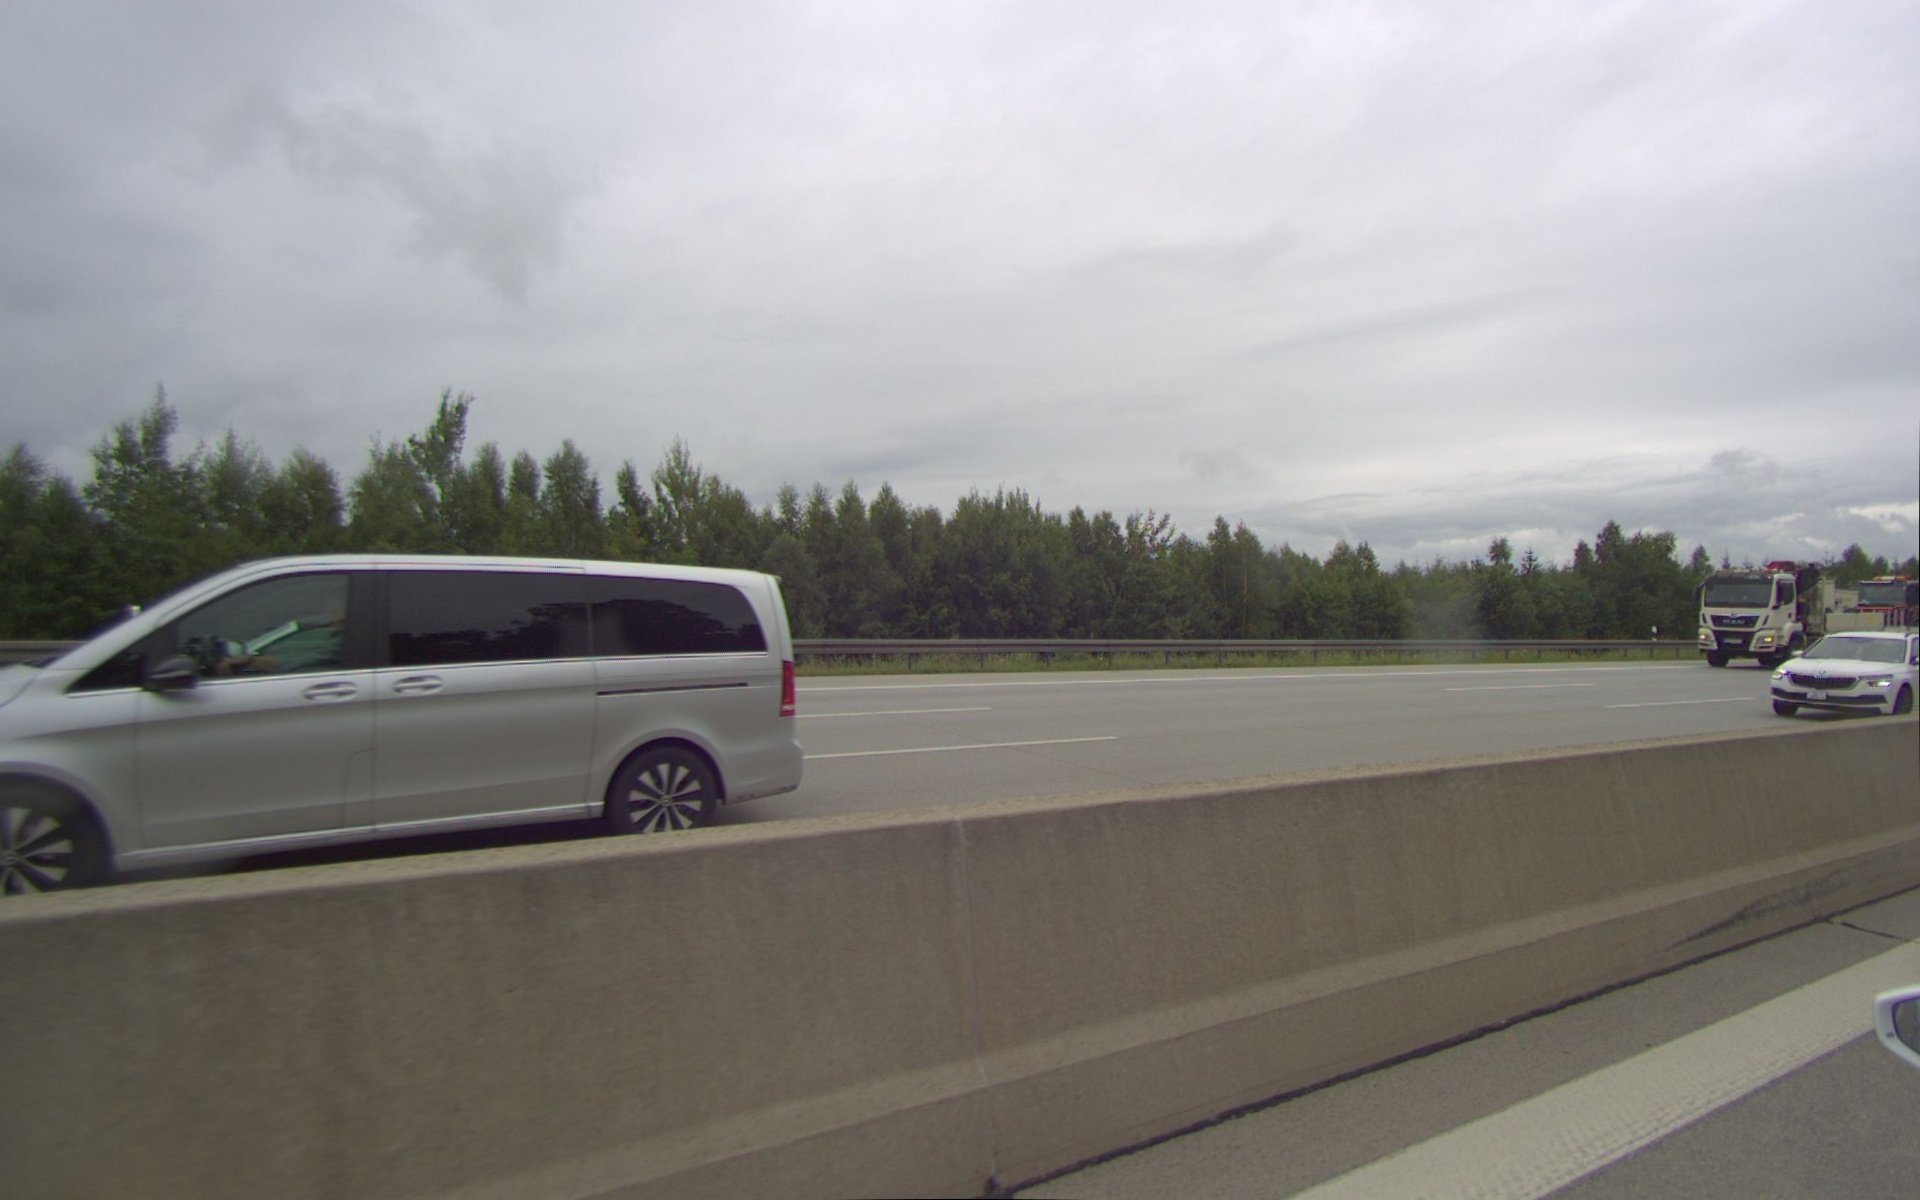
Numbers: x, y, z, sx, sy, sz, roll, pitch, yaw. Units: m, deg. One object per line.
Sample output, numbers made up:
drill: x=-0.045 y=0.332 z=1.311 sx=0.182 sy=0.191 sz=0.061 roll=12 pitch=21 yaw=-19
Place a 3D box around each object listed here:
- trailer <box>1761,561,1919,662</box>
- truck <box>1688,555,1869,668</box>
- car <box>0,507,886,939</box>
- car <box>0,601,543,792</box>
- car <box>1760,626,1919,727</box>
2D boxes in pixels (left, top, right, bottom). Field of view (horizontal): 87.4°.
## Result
trailer: x=36.739 y=0.598 z=40.314 sx=13.564 sy=3.589 sz=2.574 roll=2 pitch=-1 yaw=-31
truck: x=29.375 y=0.453 z=35.949 sx=7.571 sy=3.701 sz=2.573 roll=1 pitch=0 yaw=-31
car: x=-3.373 y=0.570 z=6.581 sx=5.462 sy=2.041 sz=1.983 roll=0 pitch=1 yaw=-31
car: x=-6.240 y=0.763 z=9.562 sx=4.047 sy=1.386 sz=1.728 roll=0 pitch=3 yaw=-30
car: x=16.305 y=1.273 z=17.923 sx=4.162 sy=1.440 sz=1.706 roll=0 pitch=3 yaw=-30
